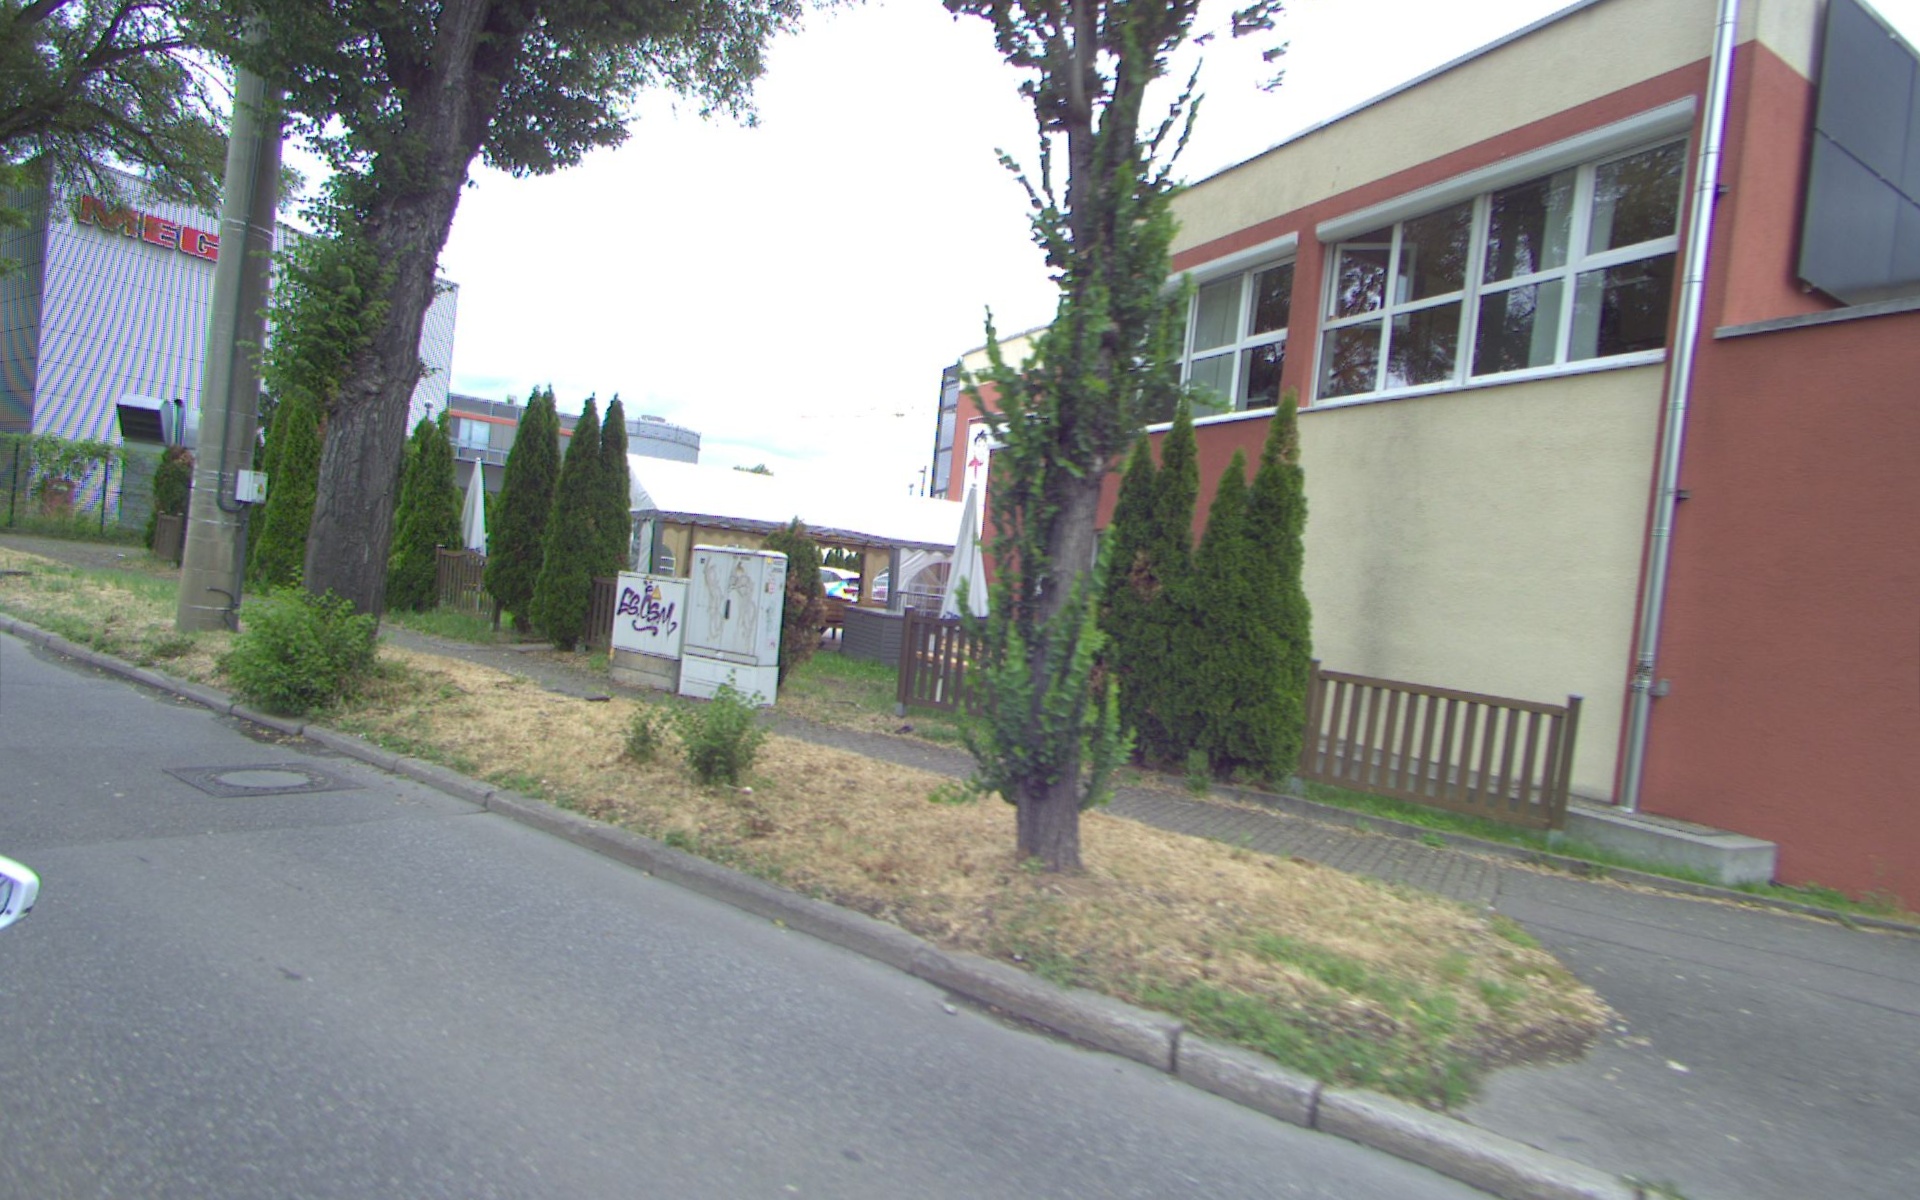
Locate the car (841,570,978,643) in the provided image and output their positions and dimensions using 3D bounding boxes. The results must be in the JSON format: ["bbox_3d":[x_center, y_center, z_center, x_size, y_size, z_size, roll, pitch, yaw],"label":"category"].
[{"bbox_3d":[-1.675,0.205,32.934,3.937,1.861,1.994,7,1,35],"label":"car"}]

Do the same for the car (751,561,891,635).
[{"bbox_3d":[-4.430,-0.073,31.823,3.937,1.861,1.994,7,1,35],"label":"car"}]

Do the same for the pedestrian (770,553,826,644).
[{"bbox_3d":[-2.883,-0.032,17.819,0.695,1.509,0.766,6,1,-21],"label":"pedestrian"}]
